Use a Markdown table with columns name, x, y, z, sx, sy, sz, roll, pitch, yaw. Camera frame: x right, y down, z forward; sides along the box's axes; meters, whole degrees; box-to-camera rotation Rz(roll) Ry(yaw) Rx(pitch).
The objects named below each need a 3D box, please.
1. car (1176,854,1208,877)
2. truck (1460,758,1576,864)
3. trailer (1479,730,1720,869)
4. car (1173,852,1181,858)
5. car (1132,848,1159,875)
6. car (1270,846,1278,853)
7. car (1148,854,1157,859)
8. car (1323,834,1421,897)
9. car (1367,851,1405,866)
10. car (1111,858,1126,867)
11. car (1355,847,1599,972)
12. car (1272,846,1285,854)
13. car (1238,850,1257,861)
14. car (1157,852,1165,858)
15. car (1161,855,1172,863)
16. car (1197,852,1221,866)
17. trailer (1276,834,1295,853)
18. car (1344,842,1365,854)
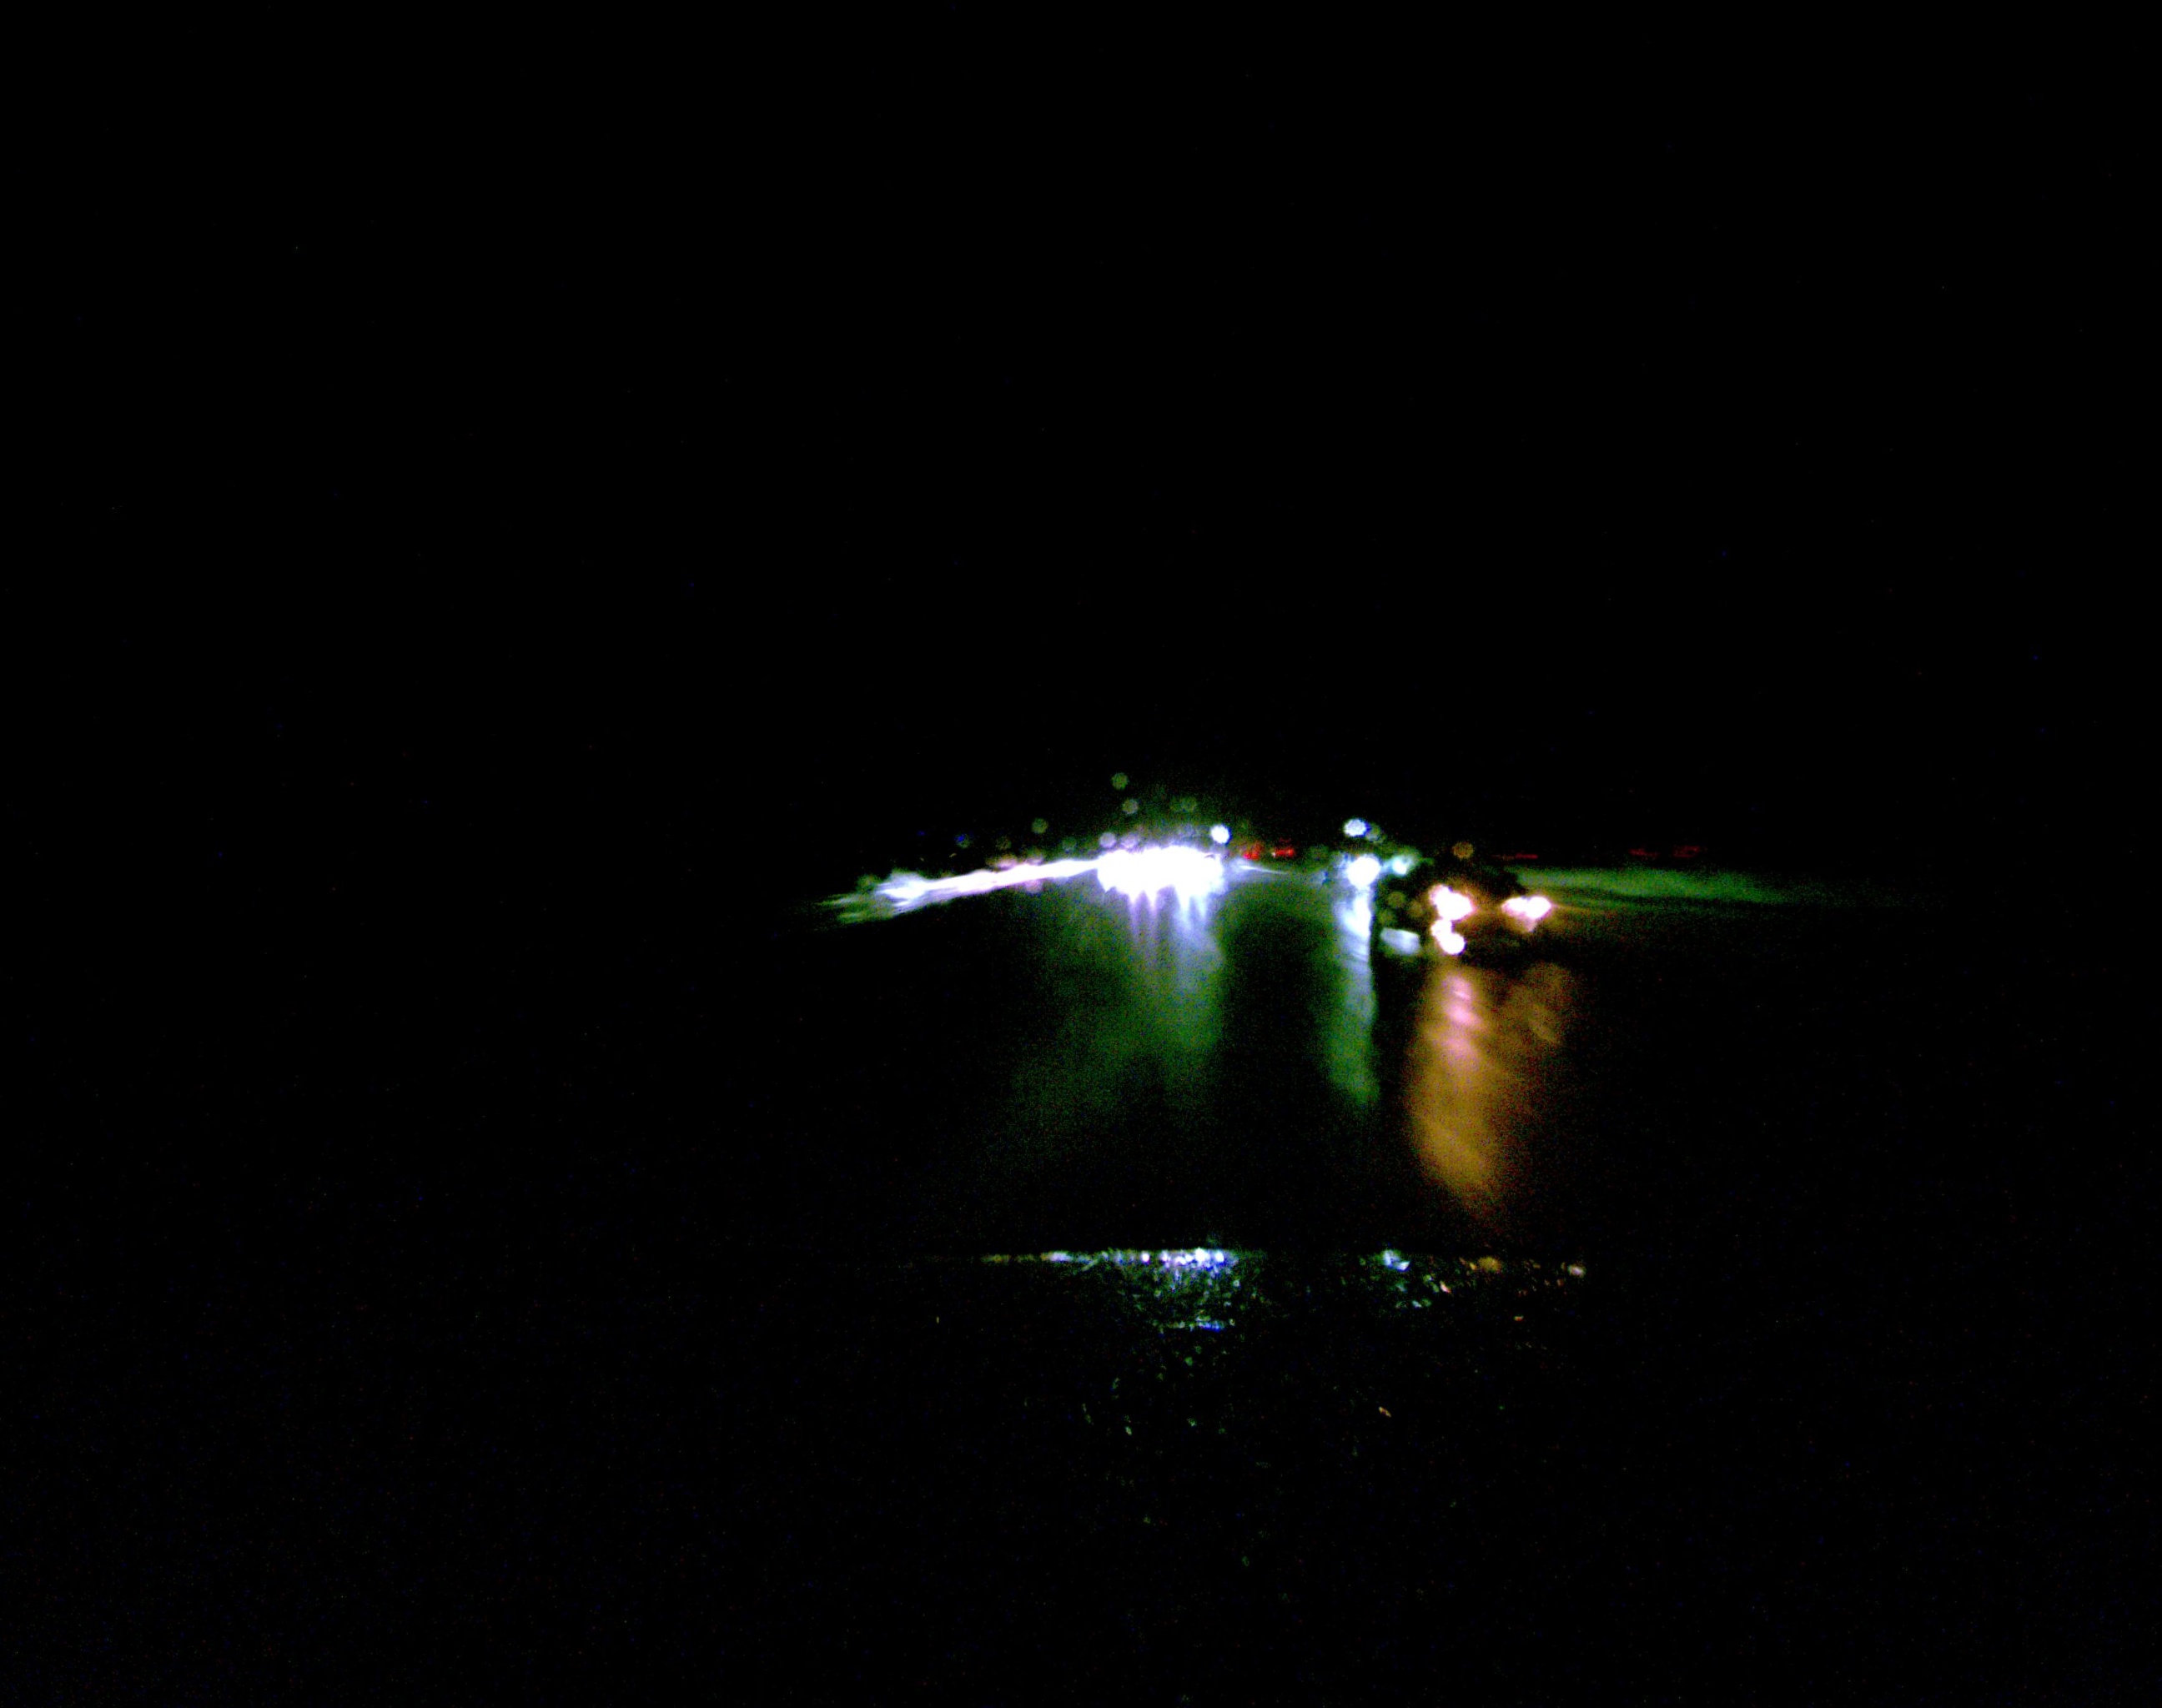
| name | x | y | z | sx | sy | sz | roll | pitch | yaw |
| --- | --- | --- | --- | --- | --- | --- | --- | --- | --- |
| car | 8.734 | 0.895 | 60.067 | 1.998 | 1.667 | 4.000 | -3 | 0 | 3 |
| truck | 27.953 | -2.604 | 48.982 | 3.471 | 6.092 | 6.173 | -6 | 0 | 2 |
| trailer | 27.708 | -2.543 | 42.311 | 3.471 | 6.092 | 14.409 | -6 | 0 | 2 |
| car | 21.463 | 0.247 | 169.704 | 1.692 | 1.149 | 3.421 | -5 | 0 | 6 |
| car | 5.234 | 0.569 | 62.132 | 1.998 | 2.002 | 4.000 | -3 | 0 | 2 |
| car | 55.201 | -1.274 | 217.002 | 1.779 | 1.586 | 4.226 | -4 | 0 | 9 |
| car | 15.582 | 0.540 | 165.441 | 1.998 | 1.149 | 4.001 | -3 | 0 | 6 |
| car | 10.371 | 0.373 | 27.477 | 2.142 | 2.002 | 4.530 | -3 | 0 | 5 |
| car | 25.406 | 0.332 | 63.425 | 1.707 | 1.148 | 3.658 | -3 | 0 | 0 |
| car | 5.487 | 1.281 | 111.273 | 1.998 | 1.149 | 4.001 | -3 | 0 | 4 |
| car | 6.017 | 0.723 | 12.210 | 1.920 | 1.585 | 4.234 | -3 | 0 | 4 |
| car | 45.720 | -0.901 | 176.195 | 1.780 | 1.586 | 5.152 | -4 | 0 | 2 |
| car | 25.962 | 0.168 | 118.743 | 1.998 | 1.586 | 4.674 | -4 | 0 | 2 |
| car | 22.243 | 0.274 | 211.838 | 1.998 | 1.379 | 4.001 | -5 | 0 | 6 |
| car | 13.302 | 0.727 | 118.101 | 1.692 | 1.149 | 3.421 | -3 | 0 | 6 |
| car | 15.313 | 0.572 | 91.035 | 2.310 | 1.600 | 3.871 | -3 | 0 | 2 |
| trailer | 57.944 | -3.020 | 215.999 | 3.271 | 5.039 | 13.978 | -3 | 0 | 8 |
| car | 37.039 | -0.802 | 102.985 | 1.780 | 1.462 | 3.986 | -4 | 0 | 6 |
